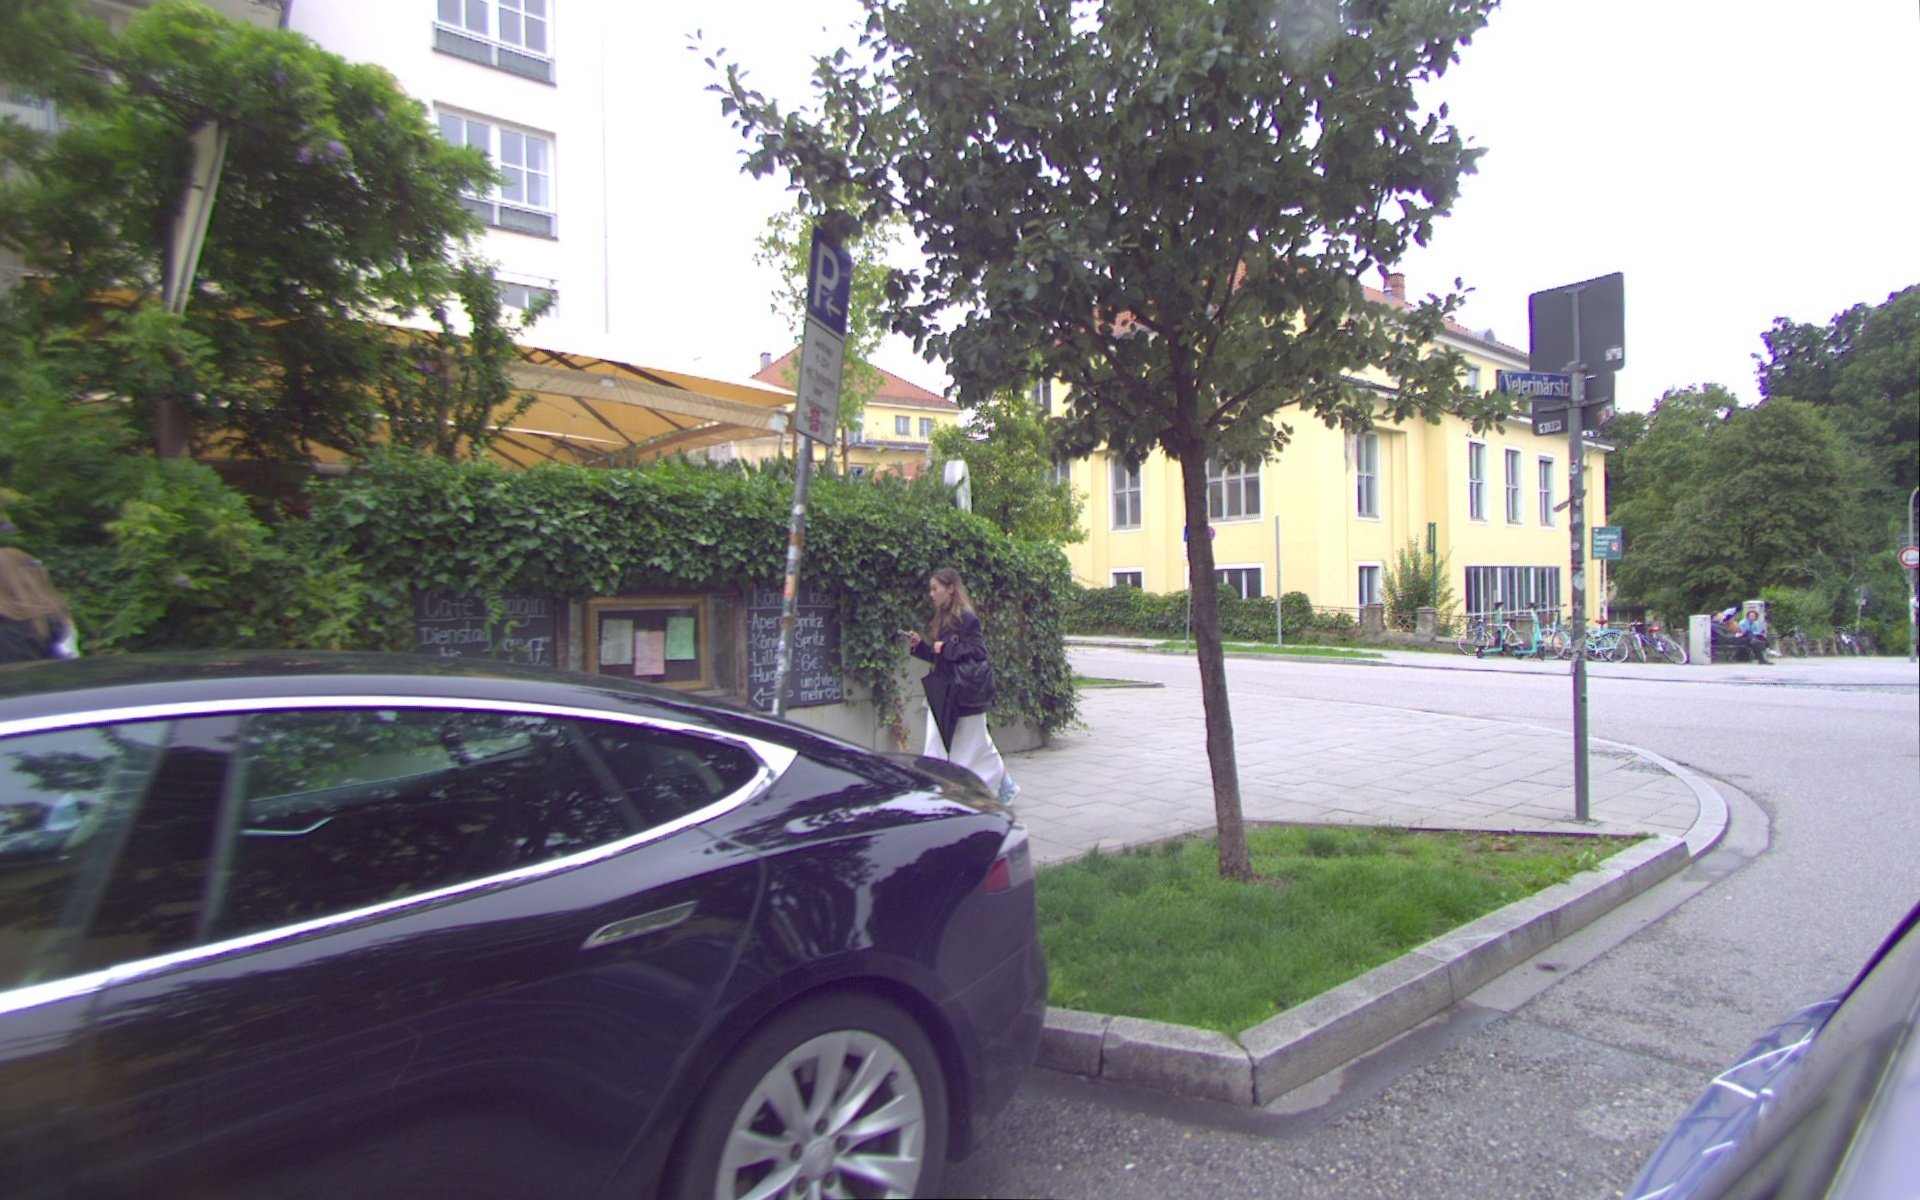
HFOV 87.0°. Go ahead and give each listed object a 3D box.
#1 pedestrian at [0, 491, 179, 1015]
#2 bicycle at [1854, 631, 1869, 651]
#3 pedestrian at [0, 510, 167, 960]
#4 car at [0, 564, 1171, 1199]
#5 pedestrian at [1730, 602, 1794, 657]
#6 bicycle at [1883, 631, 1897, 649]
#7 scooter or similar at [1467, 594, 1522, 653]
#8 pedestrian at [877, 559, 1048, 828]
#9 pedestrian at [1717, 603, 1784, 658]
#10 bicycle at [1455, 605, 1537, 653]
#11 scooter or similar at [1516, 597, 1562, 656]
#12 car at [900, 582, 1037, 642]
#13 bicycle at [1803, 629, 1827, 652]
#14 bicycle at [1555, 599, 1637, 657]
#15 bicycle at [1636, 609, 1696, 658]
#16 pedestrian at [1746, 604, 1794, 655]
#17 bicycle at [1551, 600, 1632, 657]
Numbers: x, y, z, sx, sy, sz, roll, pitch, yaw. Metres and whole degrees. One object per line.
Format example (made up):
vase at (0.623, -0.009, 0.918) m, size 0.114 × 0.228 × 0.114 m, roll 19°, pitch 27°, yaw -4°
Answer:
pedestrian at (-3.307, 0.491, 3.526) m, size 0.865 × 1.682 × 0.706 m, roll -2°, pitch 1°, yaw -40°
bicycle at (31.590, 1.426, 35.460) m, size 0.892 × 0.684 × 0.215 m, roll 2°, pitch 0°, yaw -36°
pedestrian at (-3.786, 0.503, 4.081) m, size 0.865 × 1.682 × 0.706 m, roll -2°, pitch 1°, yaw -40°
car at (-1.786, 0.684, 1.928) m, size 4.572 × 1.429 × 1.806 m, roll 0°, pitch -1°, yaw -39°
pedestrian at (19.595, 0.724, 24.738) m, size 1.173 × 1.310 × 0.630 m, roll -2°, pitch -4°, yaw 41°
bicycle at (35.109, 1.524, 38.193) m, size 0.892 × 0.665 × 0.242 m, roll 2°, pitch 0°, yaw -38°
scooter or similar at (11.835, 0.524, 22.389) m, size 1.362 × 1.264 × 0.397 m, roll 1°, pitch -1°, yaw -30°
pedestrian at (0.017, 0.563, 6.745) m, size 0.865 × 1.643 × 0.706 m, roll -2°, pitch 1°, yaw -40°
pedestrian at (18.866, 0.730, 24.165) m, size 1.211 × 1.264 × 0.630 m, roll -2°, pitch -4°, yaw 41°
bicycle at (12.291, 0.649, 23.238) m, size 1.639 × 1.006 × 0.246 m, roll 2°, pitch 0°, yaw 28°
scooter or similar at (12.462, 0.554, 21.810) m, size 0.317 × 1.228 × 1.118 m, roll 1°, pitch 0°, yaw -2°
car at (0.172, 0.341, 31.827) m, size 1.901 × 1.730 × 4.623 m, roll 1°, pitch 0°, yaw -37°
bicycle at (26.282, 1.237, 31.101) m, size 0.890 × 0.684 × 0.216 m, roll 2°, pitch 0°, yaw -27°
bicycle at (14.173, 0.622, 22.554) m, size 1.624 × 1.213 × 0.169 m, roll 2°, pitch 0°, yaw 3°
bicycle at (16.085, 0.769, 23.040) m, size 1.620 × 1.051 × 0.308 m, roll 2°, pitch 0°, yaw -24°
pedestrian at (20.101, 0.734, 25.130) m, size 0.883 × 1.251 × 0.542 m, roll -2°, pitch -4°, yaw 41°
bicycle at (14.194, 0.629, 22.751) m, size 1.624 × 1.206 × 0.202 m, roll 2°, pitch 0°, yaw 3°
